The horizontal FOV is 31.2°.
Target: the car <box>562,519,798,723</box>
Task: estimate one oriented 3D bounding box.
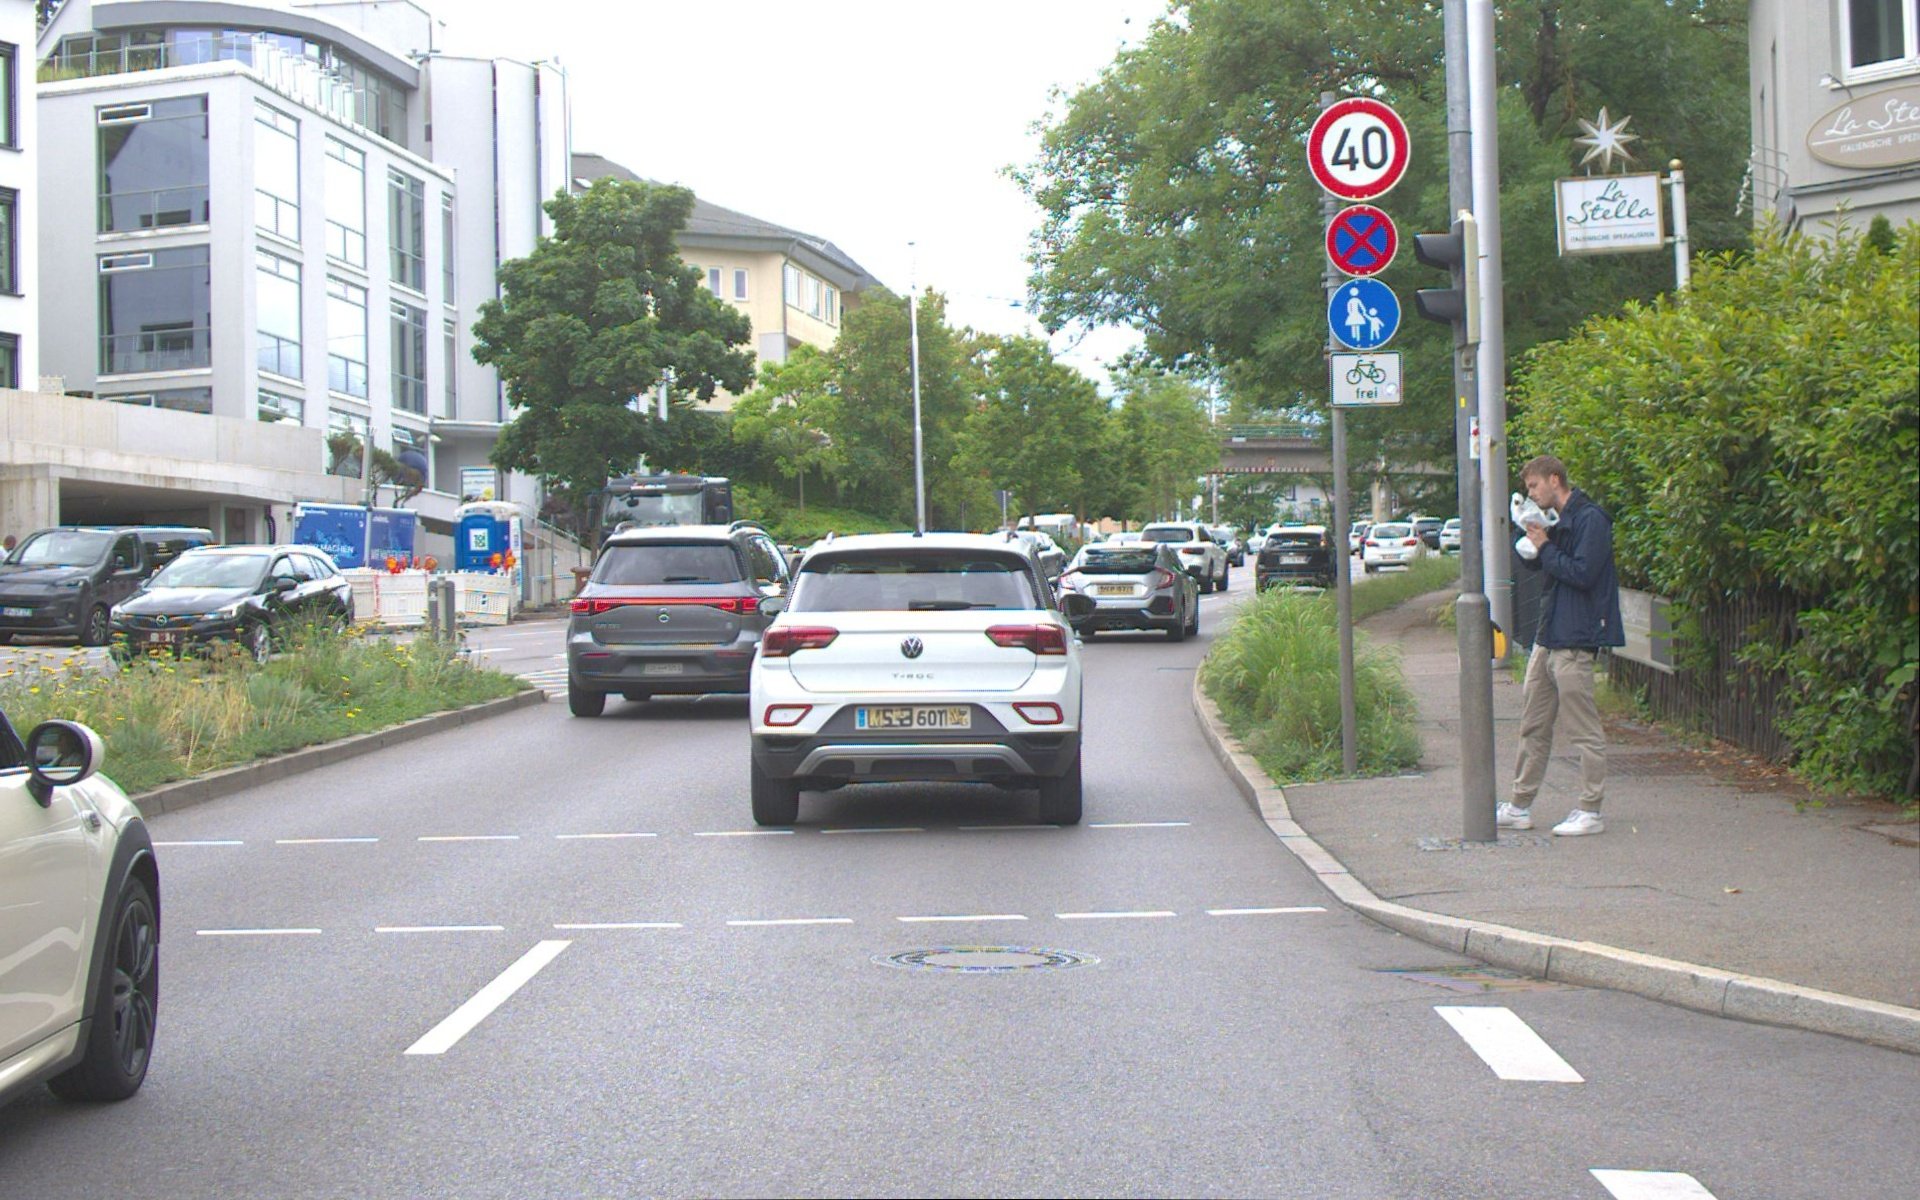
[{"bbox_3d":[-2.432,0.142,30.855,1.812,1.646,4.636,-1,1,-1],"label":"car"}]

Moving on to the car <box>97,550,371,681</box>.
[{"bbox_3d":[-8.766,0.160,41.905,1.692,1.496,4.553,0,0,10],"label":"car"}]

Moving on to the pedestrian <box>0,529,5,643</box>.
[{"bbox_3d":[-15.830,-0.231,55.308,0.674,1.834,0.672,1,1,-39],"label":"pedestrian"}]

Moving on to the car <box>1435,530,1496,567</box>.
[{"bbox_3d":[21.286,-2.175,144.873,1.985,1.495,4.056,-1,1,1],"label":"car"}]

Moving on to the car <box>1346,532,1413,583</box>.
[{"bbox_3d":[12.782,-1.307,104.633,1.858,1.495,4.054,-1,1,9],"label":"car"}]

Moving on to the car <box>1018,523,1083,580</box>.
[{"bbox_3d":[3.770,-2.028,142.872,2.069,2.298,5.463,-1,1,8],"label":"car"}]

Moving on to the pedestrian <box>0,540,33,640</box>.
[{"bbox_3d":[-15.685,-0.165,56.402,0.674,1.634,0.672,1,1,-39],"label":"pedestrian"}]

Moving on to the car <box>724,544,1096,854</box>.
[{"bbox_3d":[-0.378,0.480,19.420,1.811,1.534,3.690,-1,1,-5],"label":"car"}]

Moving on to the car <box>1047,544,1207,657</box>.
[{"bbox_3d":[2.472,0.001,49.781,1.874,1.496,4.553,2,0,8],"label":"car"}]

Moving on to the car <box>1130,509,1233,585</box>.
[{"bbox_3d":[5.131,-1.231,79.085,1.859,1.646,4.634,-1,1,10],"label":"car"}]

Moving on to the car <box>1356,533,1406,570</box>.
[{"bbox_3d":[17.784,-2.070,145.418,1.858,1.495,4.055,-1,1,4],"label":"car"}]

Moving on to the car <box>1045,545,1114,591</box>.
[{"bbox_3d":[4.483,-1.215,127.929,2.069,1.651,4.691,-1,1,8],"label":"car"}]

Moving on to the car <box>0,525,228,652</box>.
[{"bbox_3d":[-13.957,-0.215,55.650,1.984,1.960,5.215,-1,1,14],"label":"car"}]

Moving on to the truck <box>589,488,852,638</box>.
[{"bbox_3d":[-4.895,-0.806,72.495,2.963,2.961,8.973,0,1,14],"label":"truck"}]

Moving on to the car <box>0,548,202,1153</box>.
[{"bbox_3d":[-3.034,0.595,7.955,1.628,1.388,3.566,-1,1,2],"label":"car"}]

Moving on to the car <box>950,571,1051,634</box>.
[{"bbox_3d":[1.036,0.036,85.639,1.696,1.491,4.484,0,1,12],"label":"car"}]

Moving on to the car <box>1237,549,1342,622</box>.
[{"bbox_3d":[7.383,-0.314,76.719,1.874,1.496,4.553,2,0,11],"label":"car"}]

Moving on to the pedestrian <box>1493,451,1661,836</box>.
[{"bbox_3d":[2.984,0.204,16.666,0.693,1.827,0.620,1,0,1],"label":"pedestrian"}]
